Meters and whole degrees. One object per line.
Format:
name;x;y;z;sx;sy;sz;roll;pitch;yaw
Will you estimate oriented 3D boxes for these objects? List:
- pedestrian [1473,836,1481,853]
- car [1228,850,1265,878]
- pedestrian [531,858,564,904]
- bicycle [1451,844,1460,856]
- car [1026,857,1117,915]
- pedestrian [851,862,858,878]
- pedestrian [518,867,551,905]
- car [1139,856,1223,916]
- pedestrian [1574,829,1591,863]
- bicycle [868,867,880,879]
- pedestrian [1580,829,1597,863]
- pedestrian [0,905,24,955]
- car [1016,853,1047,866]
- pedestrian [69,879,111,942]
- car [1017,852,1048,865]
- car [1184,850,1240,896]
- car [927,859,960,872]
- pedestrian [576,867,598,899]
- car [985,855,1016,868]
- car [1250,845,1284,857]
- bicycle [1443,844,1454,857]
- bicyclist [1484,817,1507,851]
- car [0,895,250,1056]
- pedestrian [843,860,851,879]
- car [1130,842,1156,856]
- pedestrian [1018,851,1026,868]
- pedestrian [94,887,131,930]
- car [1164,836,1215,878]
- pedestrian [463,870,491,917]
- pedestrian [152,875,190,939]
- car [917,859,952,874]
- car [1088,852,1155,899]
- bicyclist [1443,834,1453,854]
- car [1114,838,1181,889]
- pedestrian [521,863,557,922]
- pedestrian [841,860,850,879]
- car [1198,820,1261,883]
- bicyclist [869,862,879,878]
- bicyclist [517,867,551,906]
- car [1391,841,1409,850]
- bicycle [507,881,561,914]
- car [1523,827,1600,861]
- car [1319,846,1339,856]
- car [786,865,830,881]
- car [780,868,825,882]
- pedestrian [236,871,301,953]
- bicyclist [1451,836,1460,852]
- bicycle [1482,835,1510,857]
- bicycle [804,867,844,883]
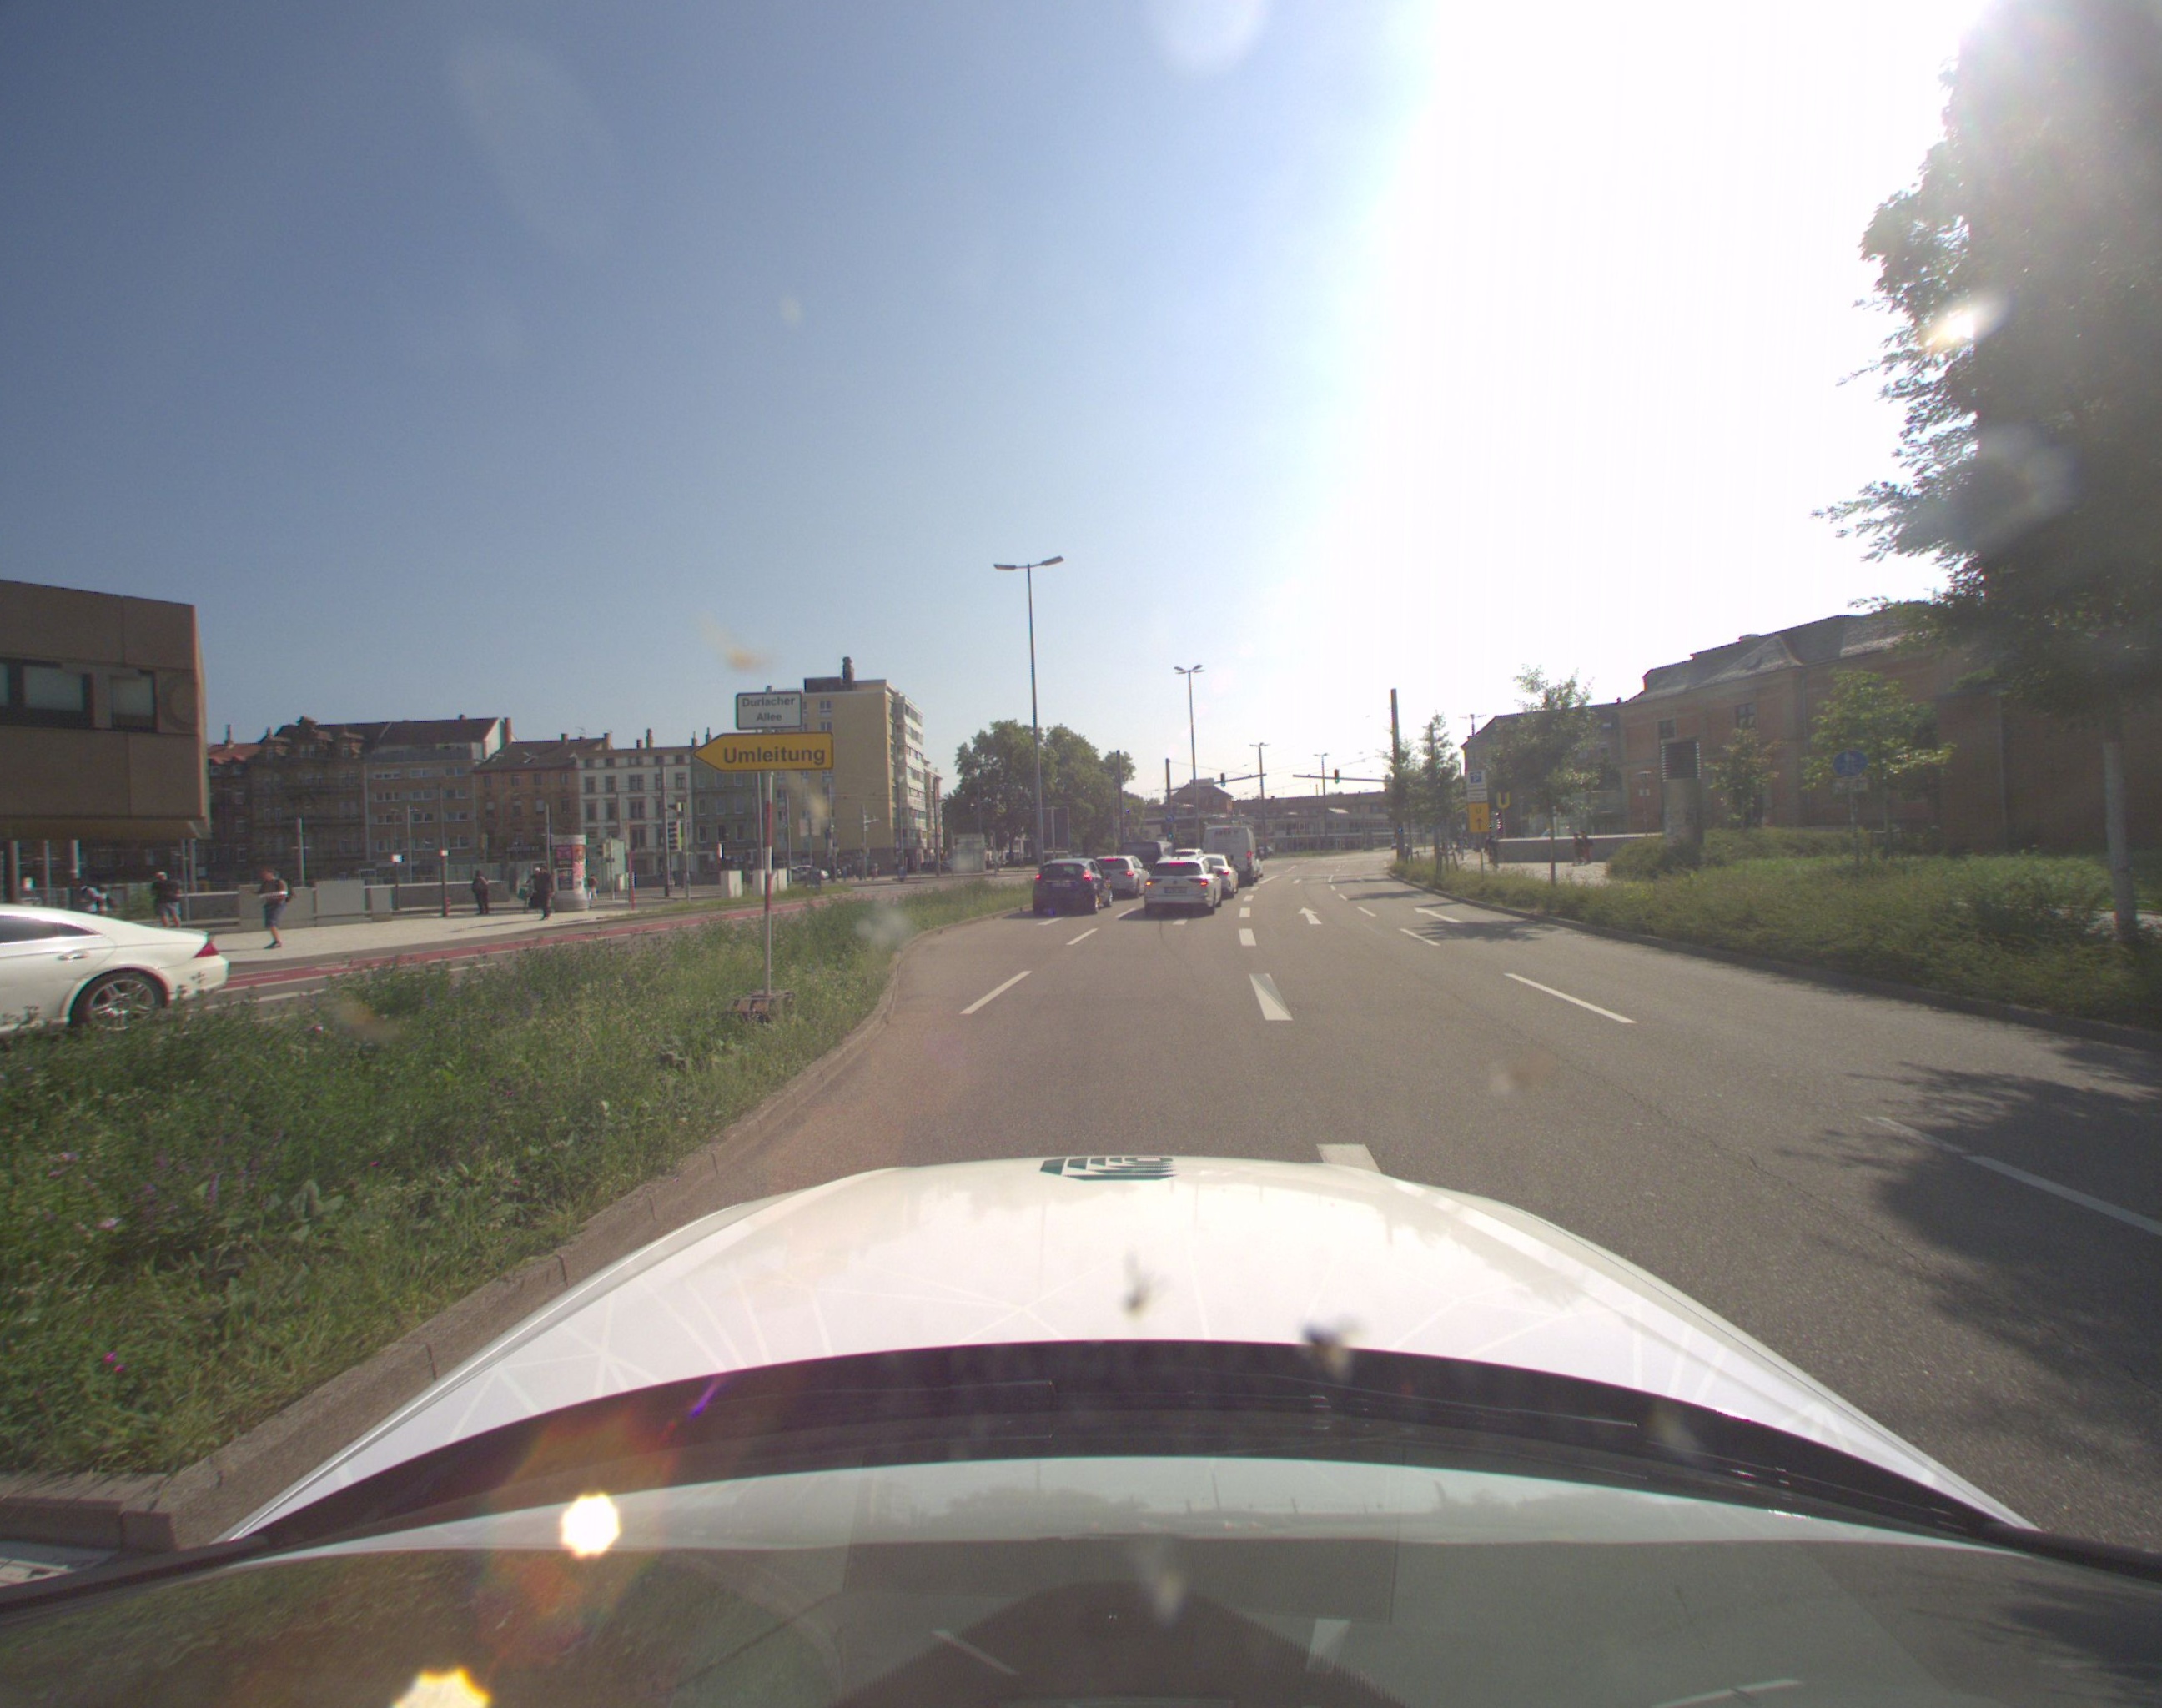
pedestrian;47.576;-1.192;97.845;0.739;2.013;0.811;-3;0;27
car;8.892;0.495;43.533;1.625;1.403;3.702;-2;0;15
pedestrian;-21.908;1.094;33.462;0.882;1.818;0.889;-3;2;-22
bicycle;34.864;-0.402;75.813;0.699;1.061;1.994;-3;0;27
car;-0.170;0.805;22.275;1.690;1.368;3.975;-2;0;11
pedestrian;-21.201;1.523;76.193;0.501;1.487;0.435;-4;3;-38
pedestrian;-30.037;1.742;44.789;0.955;2.013;1.022;-2;2;1
car;2.674;0.778;21.065;1.673;1.387;3.648;-2;-1;14
pedestrian;24.118;-0.385;39.190;0.608;1.639;0.537;-3;0;34
bicycle;-19.224;1.769;75.546;0.726;0.984;1.730;-2;0;-3
pedestrian;24.704;-0.400;39.649;0.608;1.628;0.537;-3;0;28
pedestrian;-26.014;1.843;19.661;0.588;1.171;0.527;-3;-1;43
car;-6.765;0.739;111.630;3.969;1.618;1.815;-2;0;4
pedestrian;-28.048;1.585;23.056;0.526;1.695;0.611;-1;3;34
car;-6.773;0.642;113.807;3.969;1.618;1.815;-2;0;4
car;4.485;0.603;27.431;1.478;1.403;3.957;-2;-1;14
car;-18.539;1.525;109.880;3.974;1.558;1.868;-3;0;-1
pedestrian;-28.773;1.706;47.458;0.830;1.819;0.778;-1;-2;0
car;-11.064;1.007;111.829;3.974;1.558;1.727;-2;0;-1
car;23.482;-0.329;102.798;3.943;1.342;1.935;-2;0;8
bicycle;30.143;-0.295;66.822;0.699;1.061;1.994;-3;0;27
bicyclist;19.564;-0.927;38.457;0.766;1.578;0.995;-2;0;16
car;-10.630;1.133;6.937;1.832;1.361;4.828;-1;-1;7
pedestrian;-21.739;1.457;75.727;0.458;1.684;0.435;-4;3;-38
car;10.102;-0.779;133.333;3.961;2.013;2.007;-2;2;11
pedestrian;-7.083;0.613;97.765;0.818;2.013;0.509;-2;0;3
pedestrian;-37.736;2.124;31.733;0.683;1.591;0.803;-2;0;30
car;5.772;0.136;42.889;2.008;2.008;4.702;-2;0;15
pedestrian;-21.231;1.390;28.642;0.493;1.579;0.510;-2;2;15
pedestrian;-26.750;1.540;23.943;0.388;1.818;0.561;-1;2;26
car;-18.543;1.597;103.184;3.973;1.557;1.870;-2;2;1
car;1.482;0.708;28.290;1.478;1.415;3.664;-2;0;16
bicyclist;30.116;-0.820;66.842;0.706;1.529;0.811;-3;0;27
car;2.962;0.370;35.383;2.008;2.008;4.702;-2;0;15
pedestrian;-17.493;1.224;26.295;0.851;1.778;0.867;-4;3;-33
pedestrian;-21.653;1.413;74.932;0.451;1.684;0.549;-2;2;12
car;6.627;-0.079;35.979;2.172;2.549;4.703;-2;-1;16
bicyclist;-19.239;1.446;75.641;0.724;1.434;0.689;-2;0;-4
bicyclist;-20.138;1.190;30.007;0.560;1.361;0.884;-1;2;4
car;59.085;-1.525;150.657;1.974;1.442;4.026;-3;0;38
bicycle;-20.133;1.586;30.025;0.559;1.064;1.854;-1;3;5
car;30.848;-0.662;52.317;3.981;2.013;1.751;-3;2;-6
car;41.965;-0.503;137.886;1.974;1.442;4.026;-3;0;37
car;-27.363;1.924;81.679;3.724;1.393;1.587;-2;0;0
car;-26.820;2.005;78.479;3.812;1.180;1.577;-2;-2;3
pedestrian;-18.381;1.285;18.437;0.679;1.759;0.873;-2;0;-20
bicyclist;34.851;-0.918;75.834;0.699;1.394;0.834;-3;0;27
bicycle;19.585;-0.371;38.442;0.766;0.976;2.159;-2;0;16
bicycle;-28.319;2.311;89.812;3.976;1.551;1.195;-2;2;-2
